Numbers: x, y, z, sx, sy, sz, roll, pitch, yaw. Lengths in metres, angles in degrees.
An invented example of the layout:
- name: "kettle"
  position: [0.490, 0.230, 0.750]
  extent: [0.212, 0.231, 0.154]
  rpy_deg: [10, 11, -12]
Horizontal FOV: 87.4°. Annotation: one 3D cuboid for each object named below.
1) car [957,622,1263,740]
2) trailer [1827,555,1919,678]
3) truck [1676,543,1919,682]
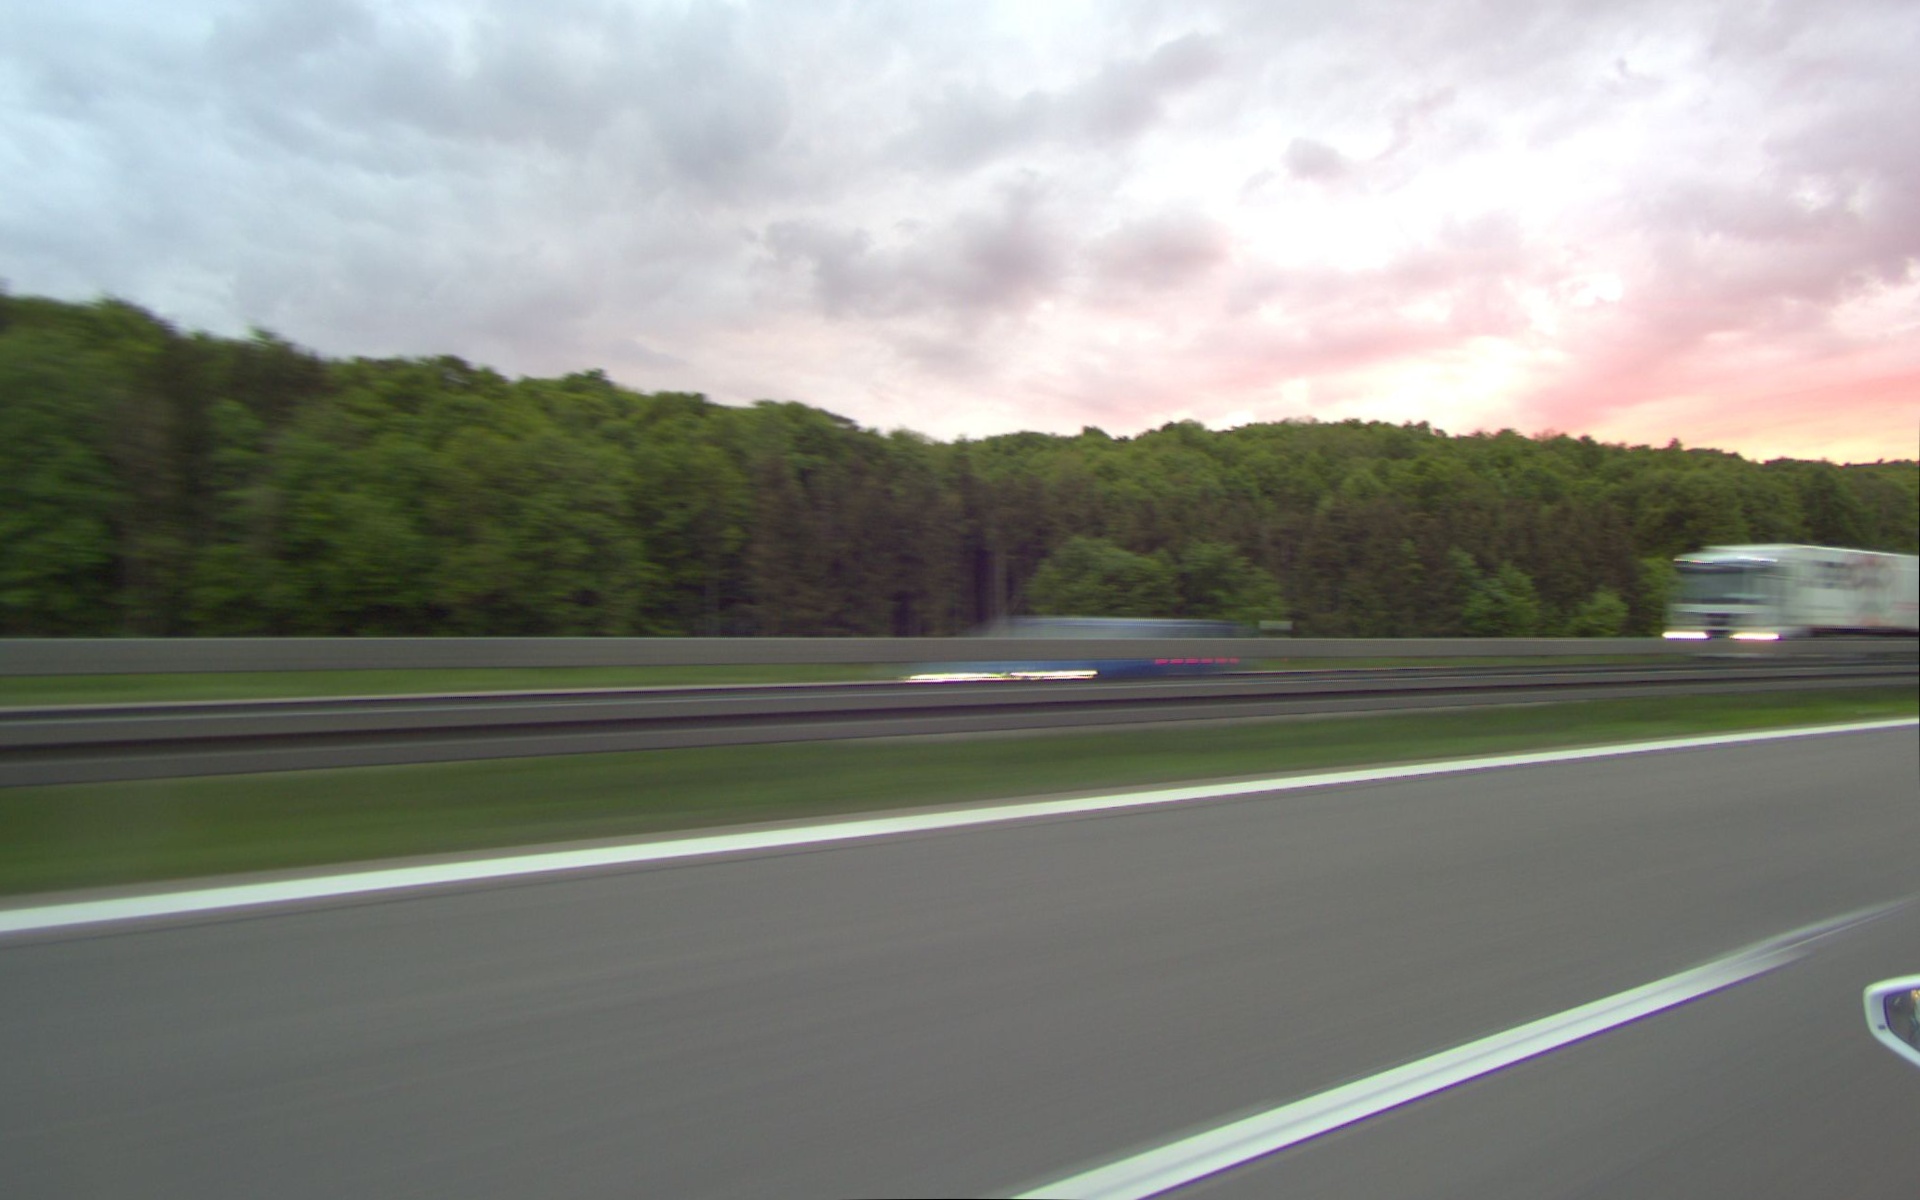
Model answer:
- name: "car"
  position: [2.350, 1.165, 15.264]
  extent: [4.618, 1.571, 1.646]
  rpy_deg: [2, -3, -31]
- name: "trailer"
  position: [37.922, 0.686, 39.153]
  extent: [9.169, 4.374, 2.822]
  rpy_deg: [1, 0, -26]
- name: "truck"
  position: [29.298, 0.489, 34.905]
  extent: [9.933, 4.338, 2.855]
  rpy_deg: [1, 0, -26]
